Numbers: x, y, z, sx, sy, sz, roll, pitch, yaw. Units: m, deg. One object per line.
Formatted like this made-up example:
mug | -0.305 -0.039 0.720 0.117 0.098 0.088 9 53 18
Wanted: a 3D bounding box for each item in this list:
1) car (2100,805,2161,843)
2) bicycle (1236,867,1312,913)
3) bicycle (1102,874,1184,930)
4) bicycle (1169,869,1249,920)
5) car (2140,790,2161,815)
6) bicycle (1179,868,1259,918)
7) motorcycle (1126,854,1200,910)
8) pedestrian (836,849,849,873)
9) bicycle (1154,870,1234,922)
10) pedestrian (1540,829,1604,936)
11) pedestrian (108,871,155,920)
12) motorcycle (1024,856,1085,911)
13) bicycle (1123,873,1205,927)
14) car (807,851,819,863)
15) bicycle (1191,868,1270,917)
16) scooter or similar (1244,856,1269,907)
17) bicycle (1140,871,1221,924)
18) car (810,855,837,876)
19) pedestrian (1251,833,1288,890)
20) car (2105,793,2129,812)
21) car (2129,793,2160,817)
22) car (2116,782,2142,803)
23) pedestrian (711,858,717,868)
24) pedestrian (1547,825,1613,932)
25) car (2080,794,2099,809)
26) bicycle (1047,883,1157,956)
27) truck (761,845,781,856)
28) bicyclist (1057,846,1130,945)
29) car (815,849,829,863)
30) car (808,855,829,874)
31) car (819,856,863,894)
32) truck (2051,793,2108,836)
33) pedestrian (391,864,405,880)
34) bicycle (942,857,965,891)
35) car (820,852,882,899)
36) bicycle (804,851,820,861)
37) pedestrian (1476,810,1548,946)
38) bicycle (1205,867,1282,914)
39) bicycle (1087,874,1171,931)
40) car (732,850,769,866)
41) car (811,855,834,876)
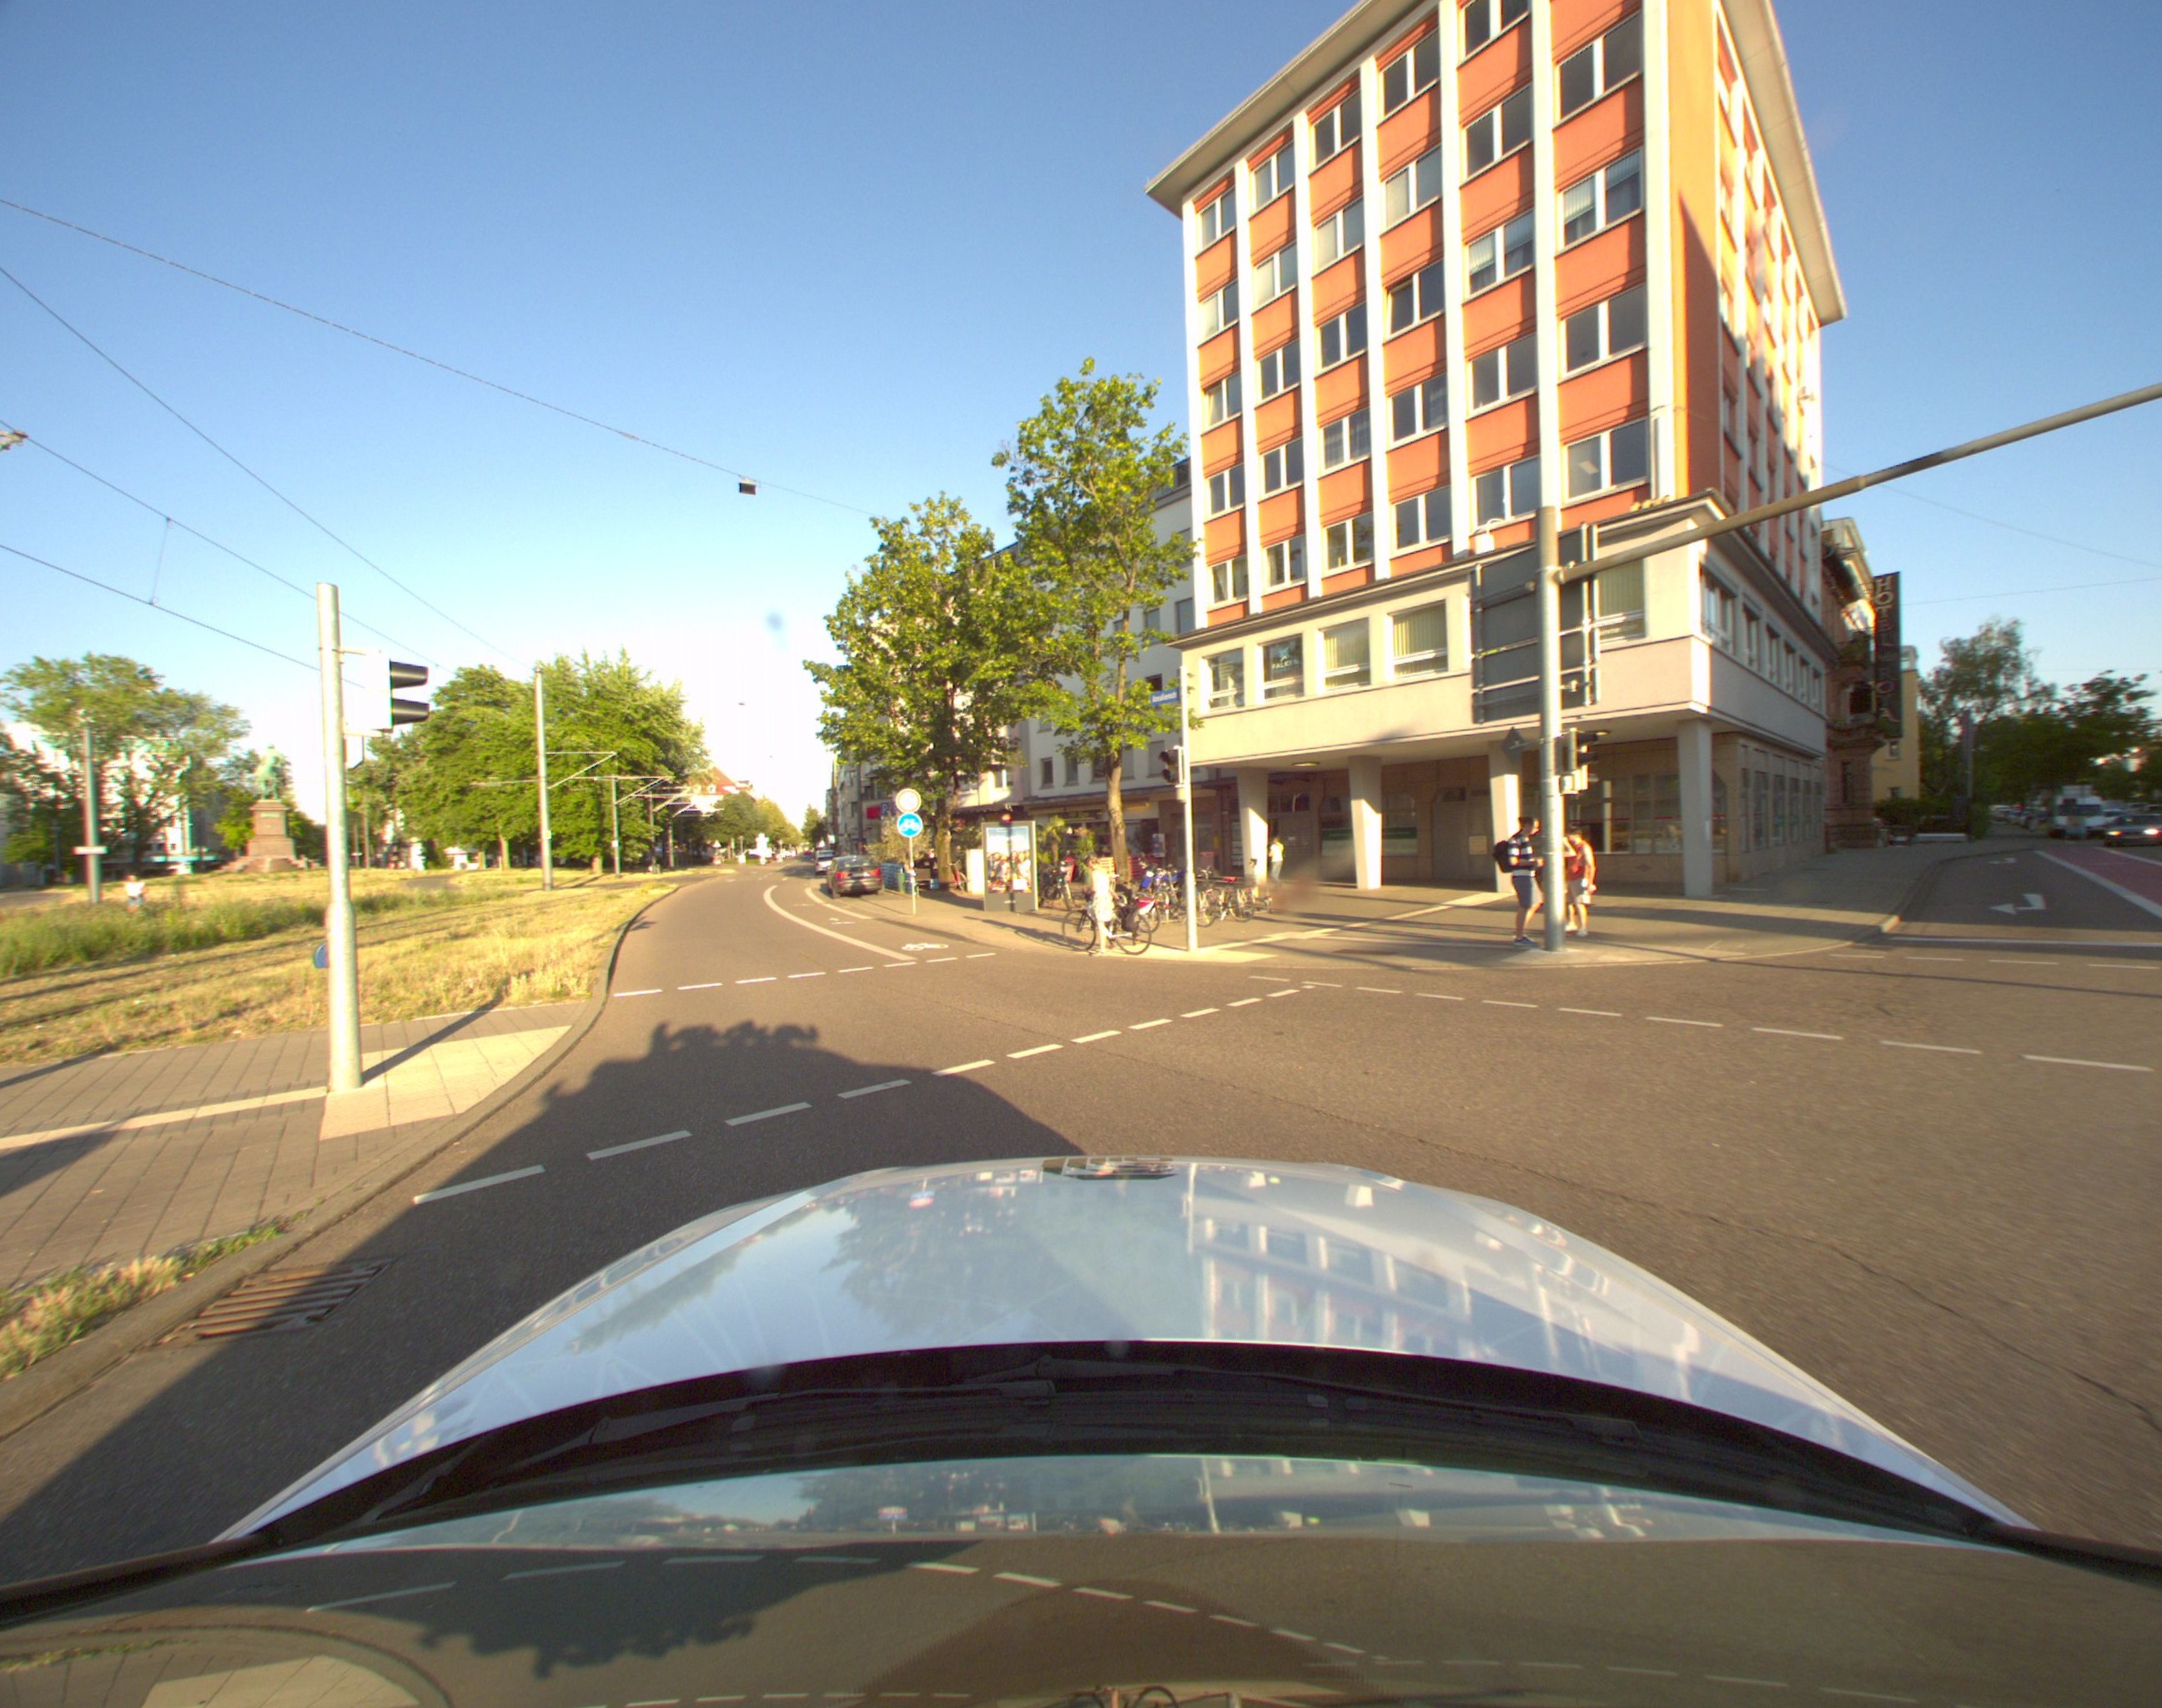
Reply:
car | 46.641 -1.308 36.070 4.129 1.576 1.722 -1 1 -37
bicycle | 4.581 0.846 19.392 1.771 1.027 0.367 0 1 41
bicycle | 1.210 0.928 16.243 1.771 1.027 0.363 0 1 42
bicycle | 2.742 0.852 17.577 1.771 1.027 0.363 0 1 42
car | 112.257 -5.340 84.955 4.021 2.520 1.977 -1 1 -40
bicycle | 3.006 0.838 17.862 1.771 1.027 0.367 0 1 41
motorcycle | 2.173 0.711 21.313 2.160 1.354 0.635 -1 1 -43
pedestrian | -18.164 0.513 62.051 0.644 1.786 0.846 -1 0 -42
bicycle | 2.385 0.874 17.310 1.771 1.027 0.363 0 1 42
pedestrian | 7.837 0.439 13.006 0.521 1.644 0.699 -3 1 -39
pedestrian | -29.061 1.262 24.938 0.673 1.459 0.694 -1 0 -23
motorcycle | -0.737 0.742 21.592 0.645 1.344 2.181 -1 1 -30
bicycle | 1.678 0.919 16.635 1.771 1.027 0.363 0 1 42
car | -41.883 0.399 127.498 1.714 1.835 4.280 -1 1 -18
bicycle | 3.318 0.840 18.188 1.771 1.027 0.367 0 1 41
scooter or similar | 4.583 0.687 21.314 0.307 1.263 1.526 -1 1 0
bicycle | 2.055 0.890 17.017 1.771 1.027 0.371 0 1 41
car | -19.140 0.840 60.544 1.789 1.456 3.977 -2 0 -17
pedestrian | 5.847 0.215 25.227 0.660 1.724 0.866 -1 1 -44
car | 151.752 -7.499 119.273 4.021 2.520 1.977 -1 1 -40
car | 121.232 -5.572 92.874 4.021 2.520 1.977 -1 1 -40
car | 140.600 -8.252 109.315 4.021 2.520 1.977 -1 1 -40
pedestrian | -49.856 1.261 110.642 0.561 1.364 0.614 -1 0 -2
pedestrian | 8.218 0.385 13.412 0.521 1.693 0.764 -3 1 -39
car | 176.772 -9.152 142.777 4.021 2.520 1.977 -1 1 -40
bicycle | 0.302 0.989 12.728 1.771 1.027 0.519 0 1 41
truck | -81.700 -0.986 214.649 4.957 2.614 1.987 -2 1 -20
bicyclist | 0.198 0.624 12.781 0.796 1.480 0.803 -1 1 41
car | -35.259 0.315 110.880 1.798 1.791 4.066 -2 0 -19
car | -22.901 0.874 70.951 1.645 1.528 3.975 -1 1 -18
car | -10.898 0.896 36.868 1.656 1.534 4.039 -1 1 -20
truck | 57.471 -2.269 46.841 4.020 2.343 1.977 -3 1 -38
pedestrian | -83.159 2.225 99.152 0.864 1.839 0.990 -1 2 -19
bicycle | -4.840 0.737 30.812 0.448 1.210 2.068 -1 1 -20
car | -9.138 0.780 32.112 1.812 1.670 4.777 -1 1 -22
bicycle | -32.695 0.244 99.012 1.785 0.989 0.541 -5 3 -6
pedestrian | 6.481 0.344 12.253 0.837 1.957 0.707 -2 1 34
bicycle | 3.684 0.813 18.571 1.771 1.027 0.367 0 1 41
bicycle | 0.916 0.929 15.893 1.771 1.027 0.363 0 1 42
car | -50.259 0.624 123.835 2.175 2.251 4.641 -1 0 44
car | -20.720 0.862 65.320 1.590 1.590 3.643 -1 1 -20
